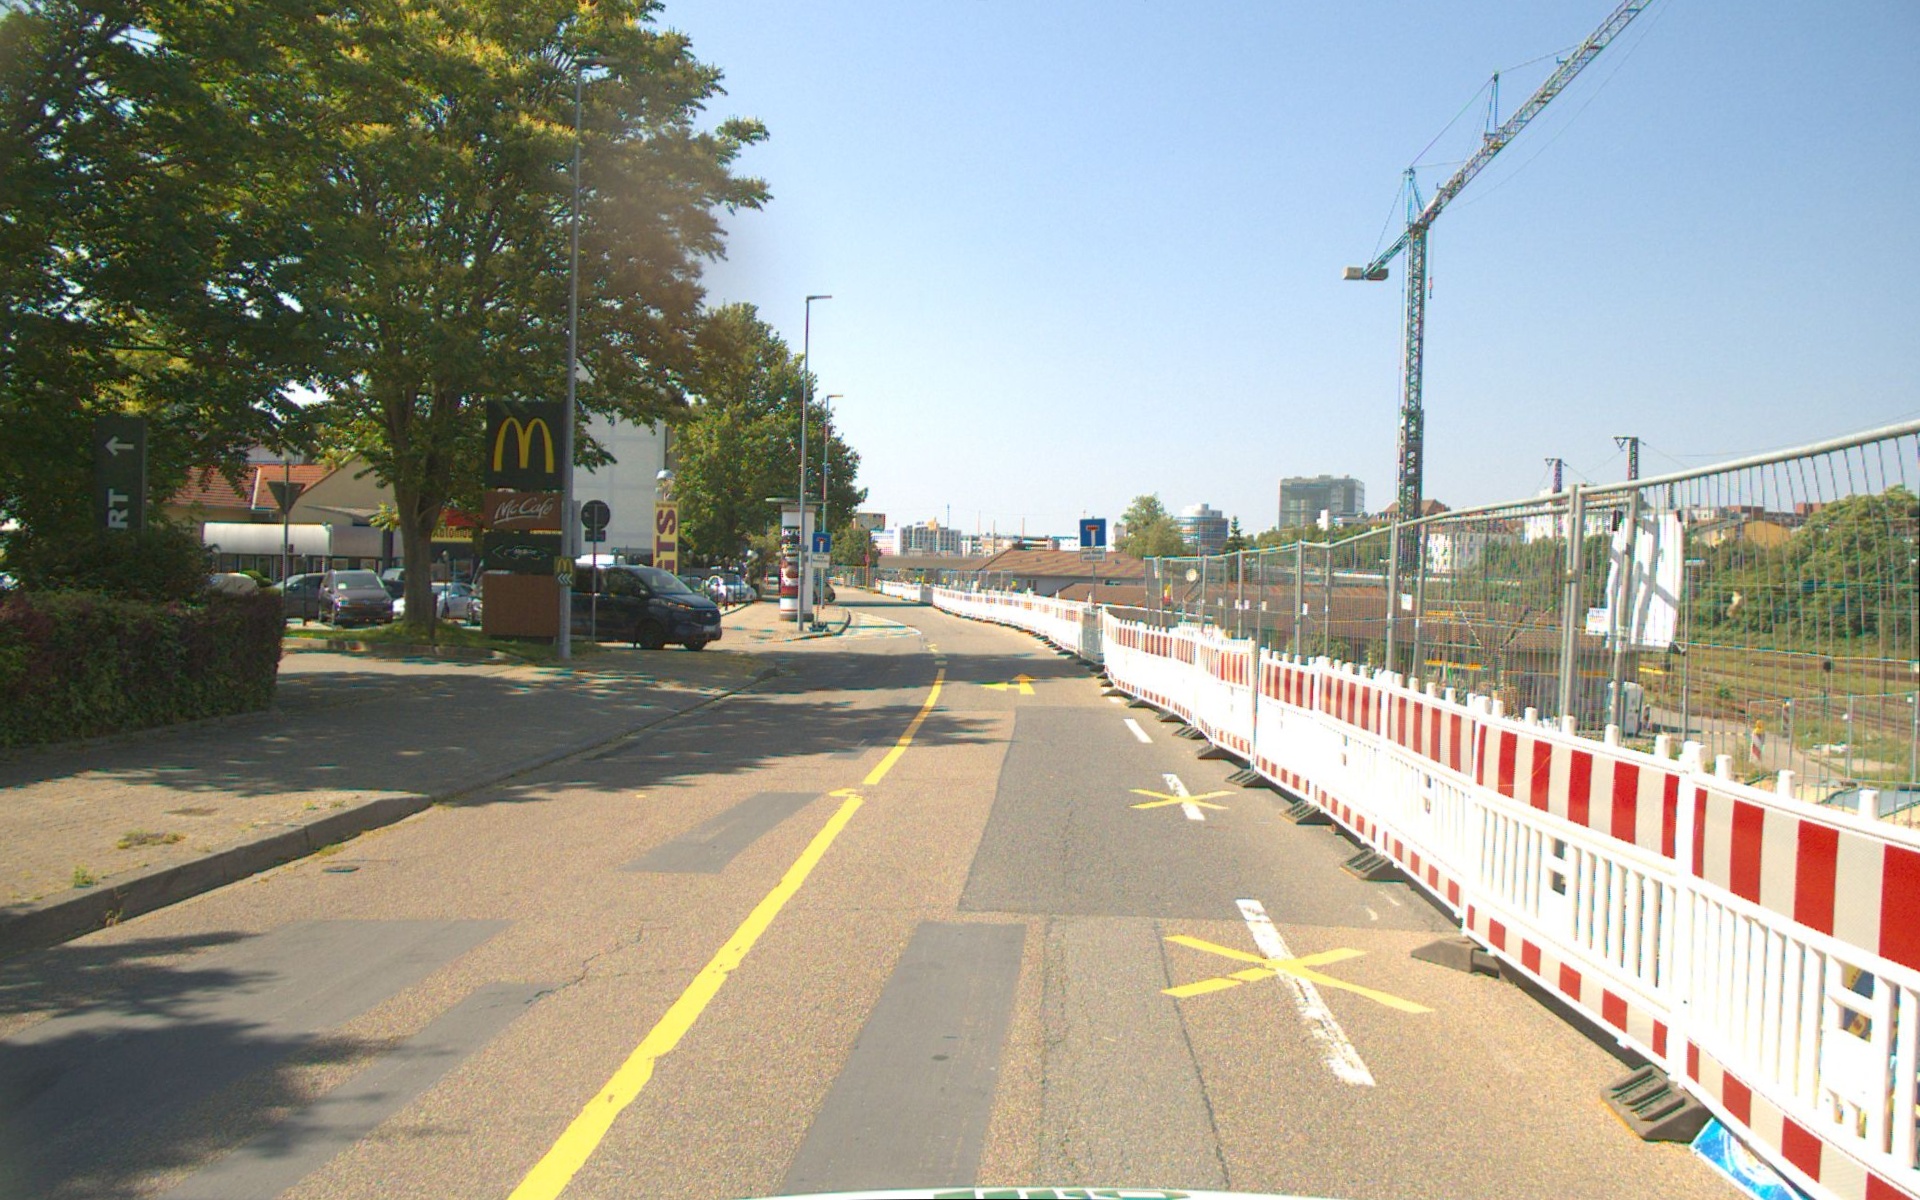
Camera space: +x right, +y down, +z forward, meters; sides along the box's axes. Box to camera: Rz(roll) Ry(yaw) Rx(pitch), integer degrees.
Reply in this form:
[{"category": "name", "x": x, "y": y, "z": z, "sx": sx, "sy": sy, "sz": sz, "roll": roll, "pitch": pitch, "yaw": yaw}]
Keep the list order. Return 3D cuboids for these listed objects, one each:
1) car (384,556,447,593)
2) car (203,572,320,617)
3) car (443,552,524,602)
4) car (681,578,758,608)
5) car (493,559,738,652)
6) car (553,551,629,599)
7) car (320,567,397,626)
[{"category": "car", "x": -21.993, "y": -1.036, "z": 66.743, "sx": 1.552, "sy": 1.445, "sz": 3.647, "roll": 1, "pitch": 0, "yaw": -32}, {"category": "car", "x": -23.925, "y": -0.190, "z": 56.694, "sx": 3.628, "sy": 1.445, "sz": 1.560, "roll": 1, "pitch": 0, "yaw": -25}, {"category": "car", "x": -19.424, "y": -0.959, "z": 67.364, "sx": 1.977, "sy": 1.937, "sz": 3.951, "roll": 1, "pitch": 0, "yaw": -35}, {"category": "car", "x": -12.437, "y": -0.359, "z": 85.647, "sx": 3.597, "sy": 1.445, "sz": 1.574, "roll": 2, "pitch": 0, "yaw": 13}, {"category": "car", "x": -7.966, "y": 0.090, "z": 38.275, "sx": 5.252, "sy": 1.969, "sz": 2.001, "roll": 1, "pitch": 1, "yaw": 18}, {"category": "car", "x": -15.866, "y": -1.075, "z": 70.975, "sx": 1.808, "sy": 1.963, "sz": 3.951, "roll": 1, "pitch": 0, "yaw": -35}, {"category": "car", "x": -19.021, "y": -0.140, "z": 52.220, "sx": 1.968, "sy": 1.758, "sz": 3.969, "roll": 1, "pitch": 1, "yaw": -25}]
